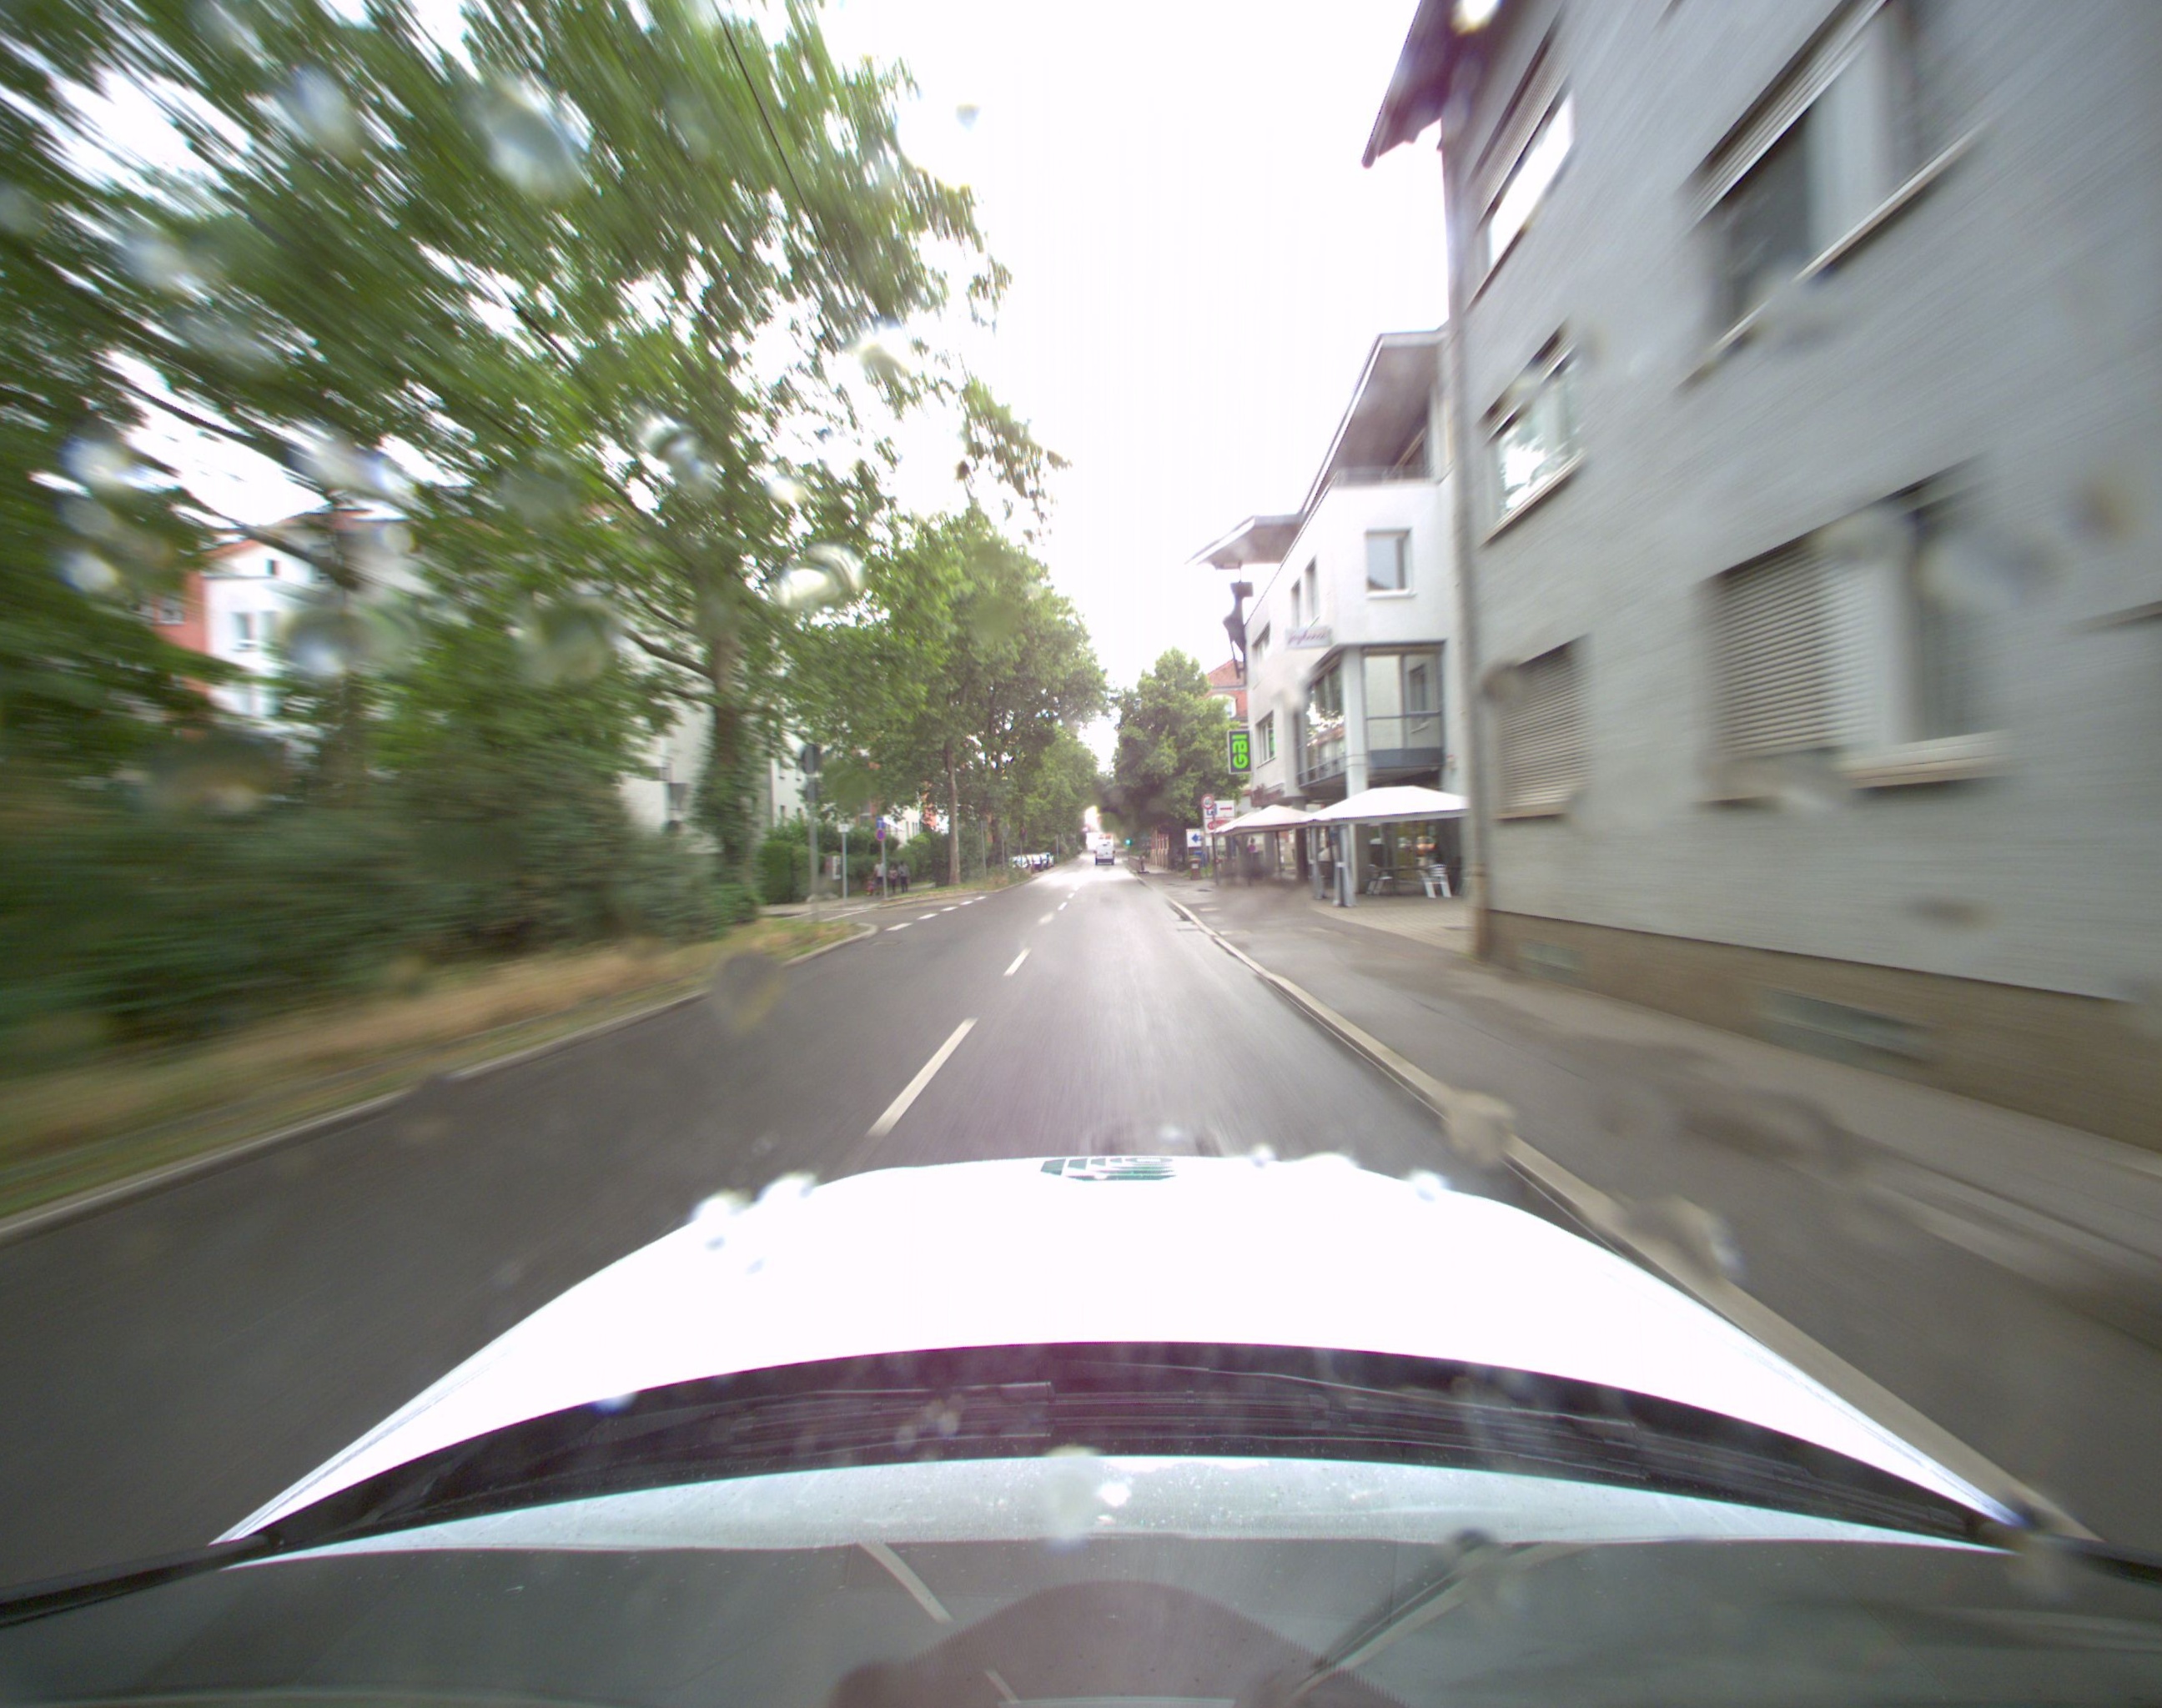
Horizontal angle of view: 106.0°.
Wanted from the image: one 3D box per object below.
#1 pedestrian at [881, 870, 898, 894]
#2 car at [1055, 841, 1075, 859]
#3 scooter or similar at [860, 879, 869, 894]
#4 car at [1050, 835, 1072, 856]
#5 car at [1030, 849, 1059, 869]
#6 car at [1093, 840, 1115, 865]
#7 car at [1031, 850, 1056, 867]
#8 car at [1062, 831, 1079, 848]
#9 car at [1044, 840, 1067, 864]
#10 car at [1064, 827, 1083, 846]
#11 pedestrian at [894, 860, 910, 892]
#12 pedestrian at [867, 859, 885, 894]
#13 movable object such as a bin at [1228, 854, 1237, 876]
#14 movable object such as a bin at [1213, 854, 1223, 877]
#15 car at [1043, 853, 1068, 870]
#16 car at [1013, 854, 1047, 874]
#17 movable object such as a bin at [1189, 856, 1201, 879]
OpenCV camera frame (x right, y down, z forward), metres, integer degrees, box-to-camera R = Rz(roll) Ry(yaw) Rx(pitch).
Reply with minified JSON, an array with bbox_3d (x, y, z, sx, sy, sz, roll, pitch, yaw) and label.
[{"bbox_3d":[-9.089,1.329,38.634,0.679,1.107,0.623,0,-2,-1],"label":"pedestrian"},{"bbox_3d":[-2.080,-0.465,108.228,2.206,2.294,4.614,0,-1,4],"label":"car"},{"bbox_3d":[-9.944,1.502,37.369,0.306,0.681,0.388,0,-2,-1],"label":"scooter or similar"},{"bbox_3d":[-2.431,-0.966,98.465,2.206,2.294,4.613,0,-2,4],"label":"car"},{"bbox_3d":[-3.350,0.531,75.429,2.206,1.729,4.613,0,-2,4],"label":"car"},{"bbox_3d":[2.470,-0.109,87.585,2.274,2.553,4.001,-2,-2,2],"label":"car"},{"bbox_3d":[-3.747,0.502,82.273,1.986,1.543,4.613,0,-2,4],"label":"car"},{"bbox_3d":[-1.573,-2.147,122.179,2.205,2.294,4.614,0,-2,4],"label":"car"},{"bbox_3d":[-2.914,-0.222,93.416,2.206,2.534,4.613,0,-2,4],"label":"car"},{"bbox_3d":[-1.028,-2.422,114.837,2.206,2.294,4.613,0,-3,4],"label":"car"},{"bbox_3d":[-8.841,1.066,40.236,0.679,1.571,0.623,0,-1,-1],"label":"pedestrian"},{"bbox_3d":[-9.430,1.031,37.504,0.637,1.612,0.623,0,-2,-1],"label":"pedestrian"},{"bbox_3d":[7.385,0.535,39.799,0.356,1.067,0.358,0,-2,-5],"label":"movable object such as a bin"},{"bbox_3d":[6.691,0.567,39.798,0.399,1.067,0.358,-1,-2,-5],"label":"movable object such as a bin"},{"bbox_3d":[-2.672,0.847,87.600,2.206,1.691,4.613,0,-2,4],"label":"car"},{"bbox_3d":[-4.286,0.898,69.152,2.206,1.592,4.613,0,-2,4],"label":"car"},{"bbox_3d":[5.569,0.654,39.844,0.399,1.066,0.358,-5,-2,-5],"label":"movable object such as a bin"}]
